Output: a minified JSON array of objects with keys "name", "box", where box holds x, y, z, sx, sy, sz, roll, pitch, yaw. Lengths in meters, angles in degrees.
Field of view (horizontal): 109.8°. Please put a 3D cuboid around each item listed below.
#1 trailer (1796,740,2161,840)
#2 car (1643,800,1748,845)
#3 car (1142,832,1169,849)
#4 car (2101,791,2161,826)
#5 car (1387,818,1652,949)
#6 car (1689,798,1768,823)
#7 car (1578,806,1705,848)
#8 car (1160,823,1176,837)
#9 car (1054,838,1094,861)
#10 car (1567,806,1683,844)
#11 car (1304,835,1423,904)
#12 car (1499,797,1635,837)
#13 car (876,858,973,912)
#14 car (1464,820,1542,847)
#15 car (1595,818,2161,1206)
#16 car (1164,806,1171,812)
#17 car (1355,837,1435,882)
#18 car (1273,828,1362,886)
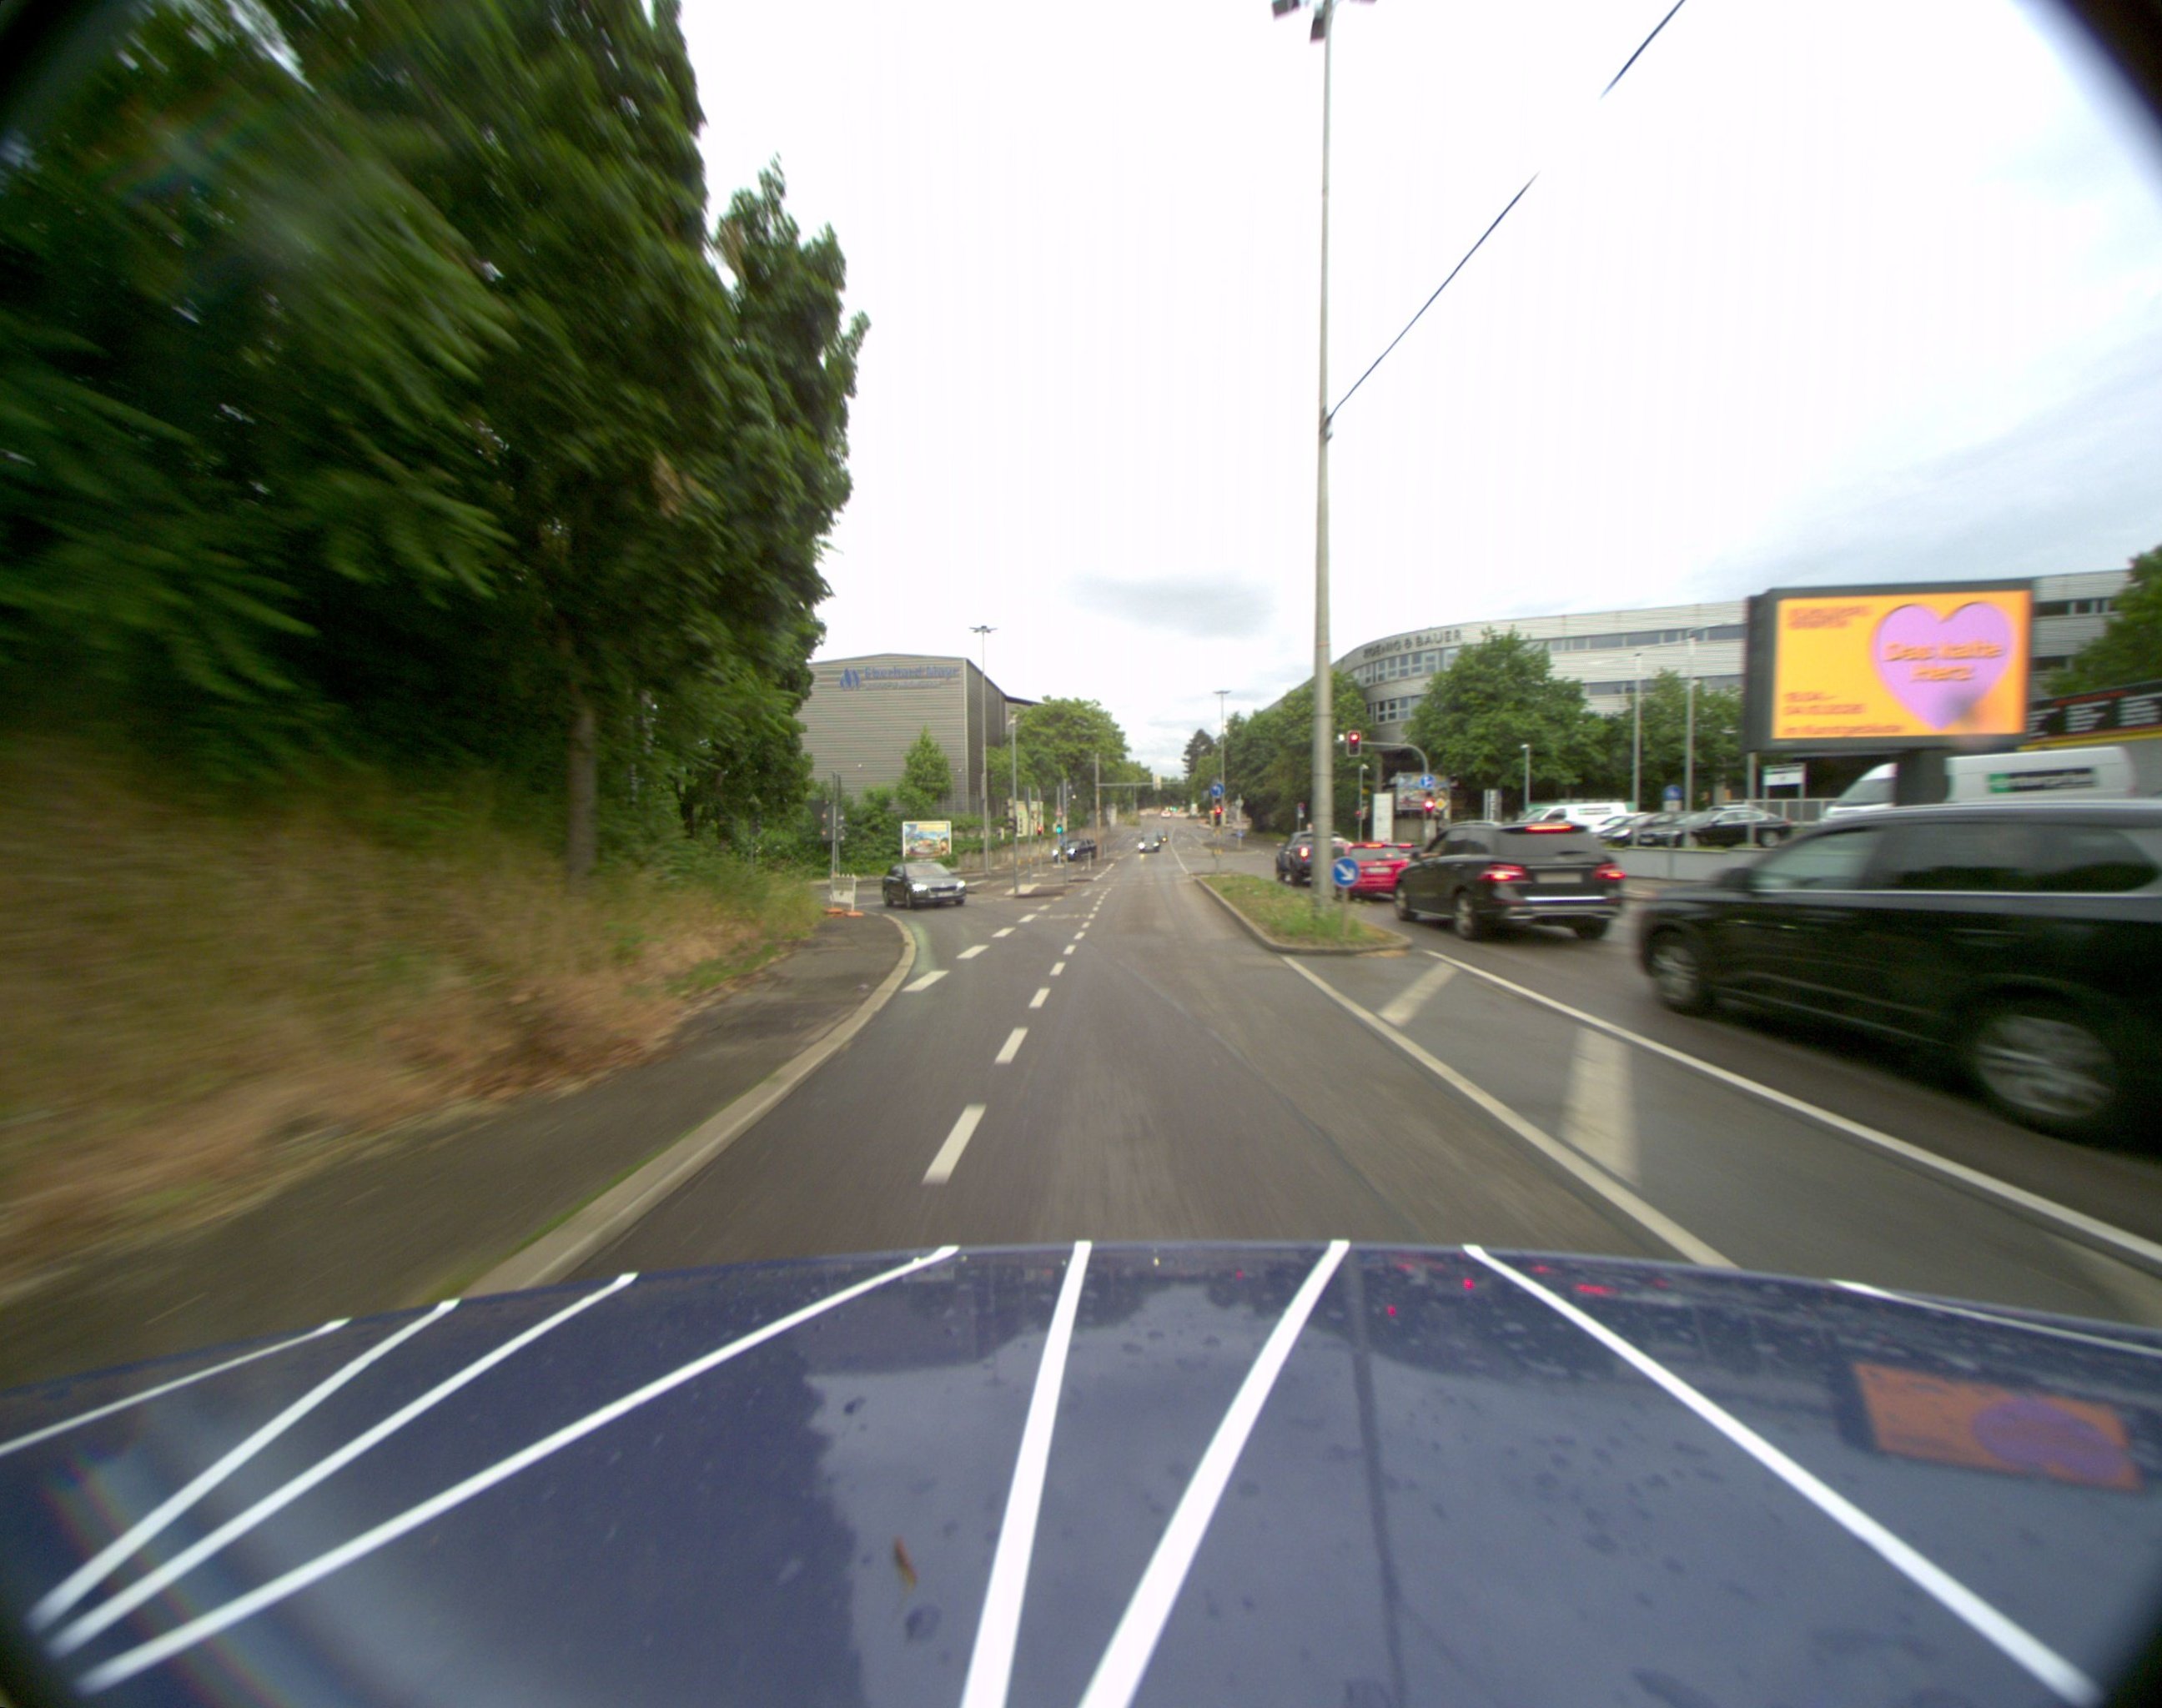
[{"name":"trailer","box":[24.167,-1.681,20.549,7.113,2.415,2.394,-1,3,3]},{"name":"car","box":[22.072,-1.122,27.339,2.684,1.416,1.227,-4,2,5]},{"name":"car","box":[6.634,-1.203,67.288,1.594,1.253,3.759,-4,3,17]},{"name":"car","box":[35.001,-1.464,24.146,1.320,1.102,3.416,0,3,18]},{"name":"car","box":[6.649,0.356,12.243,1.959,1.687,4.626,-1,1,5]},{"name":"car","box":[35.437,-2.361,41.699,1.573,1.314,3.296,-1,3,3]},{"name":"car","box":[21.886,-1.042,29.767,3.619,1.361,1.742,-4,2,5]},{"name":"car","box":[10.042,-2.806,87.580,1.736,1.569,3.709,-1,3,6]},{"name":"car","box":[-0.509,-0.388,60.297,1.949,1.535,4.214,-4,3,17]},{"name":"car","box":[23.485,-1.254,32.938,3.619,1.361,1.873,-4,2,5]},{"name":"car","box":[7.317,0.321,20.162,1.810,1.522,4.441,-1,3,4]},{"name":"car","box":[23.982,-1.828,37.622,5.369,1.792,2.218,-1,3,-3]},{"name":"car","box":[-5.161,0.971,24.629,1.814,1.509,4.043,-4,0,-30]},{"name":"car","box":[29.268,-1.408,52.895,4.373,1.591,2.036,-3,2,17]},{"name":"car","box":[5.501,0.596,4.708,1.692,1.596,4.728,-1,3,4]},{"name":"car","box":[20.052,-10.465,176.098,1.532,1.308,3.231,-1,3,8]},{"name":"car","box":[11.540,0.153,28.177,1.545,1.451,4.070,-1,3,4]},{"name":"car","box":[8.097,0.055,26.513,1.938,1.808,5.171,-1,1,5]}]
